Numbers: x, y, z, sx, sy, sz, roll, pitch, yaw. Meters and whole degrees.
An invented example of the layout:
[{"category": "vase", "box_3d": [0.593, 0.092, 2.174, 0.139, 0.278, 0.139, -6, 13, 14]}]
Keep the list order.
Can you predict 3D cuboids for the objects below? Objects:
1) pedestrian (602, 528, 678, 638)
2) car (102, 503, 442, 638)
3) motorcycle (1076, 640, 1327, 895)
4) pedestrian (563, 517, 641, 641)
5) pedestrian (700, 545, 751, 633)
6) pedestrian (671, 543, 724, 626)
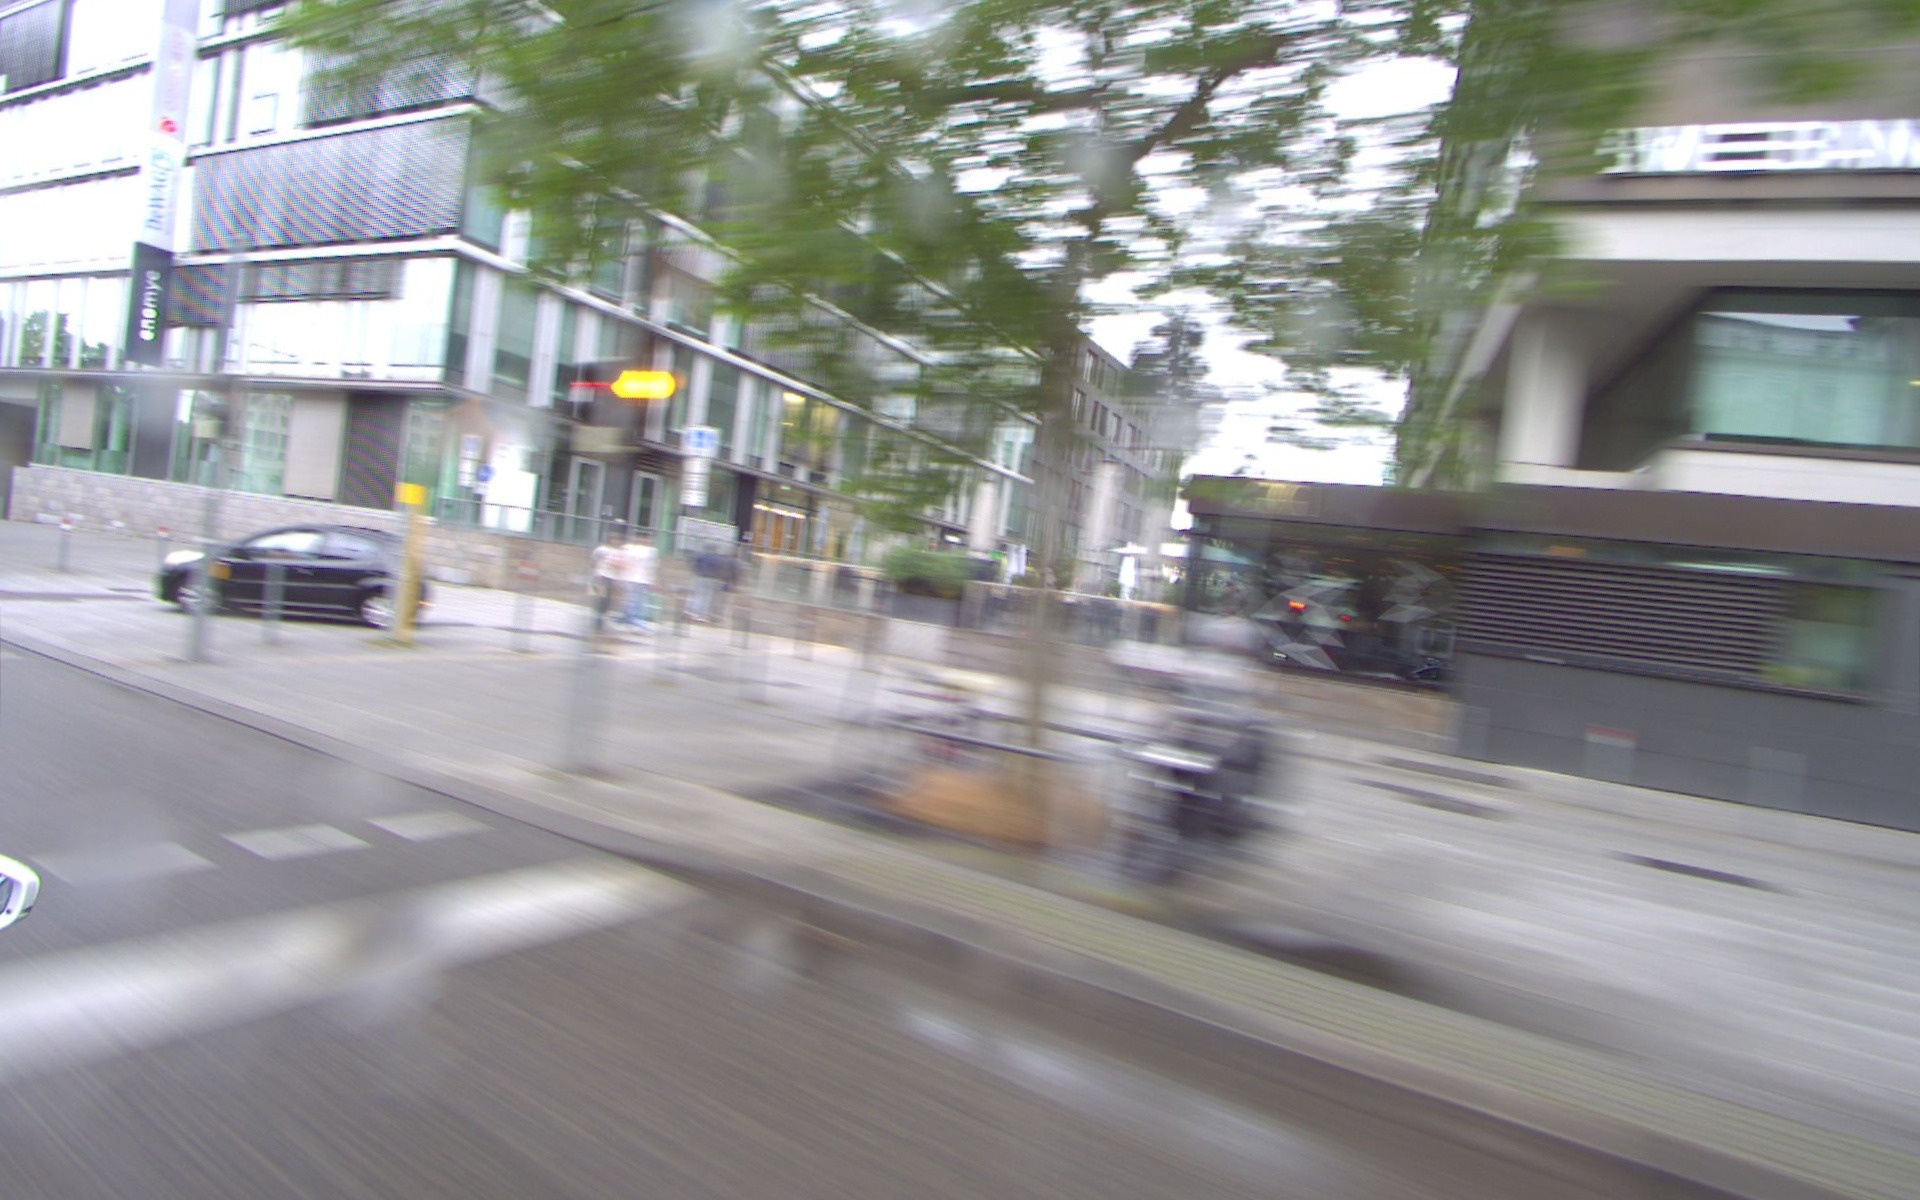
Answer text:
[{"category": "pedestrian", "box_3d": [-5.920, -0.309, 18.602, 0.885, 1.891, 0.800, 7, 1, 39]}, {"category": "car", "box_3d": [-10.023, -0.395, 15.002, 3.780, 1.434, 1.628, 7, 0, -20]}, {"category": "motorcycle", "box_3d": [1.688, 1.053, 6.728, 0.667, 1.374, 2.082, 7, 0, 39]}, {"category": "pedestrian", "box_3d": [-6.315, -0.367, 17.767, 0.743, 2.064, 0.848, 8, 1, 43]}, {"category": "pedestrian", "box_3d": [-5.163, -0.227, 22.182, 0.669, 1.845, 0.651, 7, 1, 15]}, {"category": "pedestrian", "box_3d": [-5.863, -0.342, 22.481, 0.766, 1.746, 0.645, 7, 1, 6]}]
